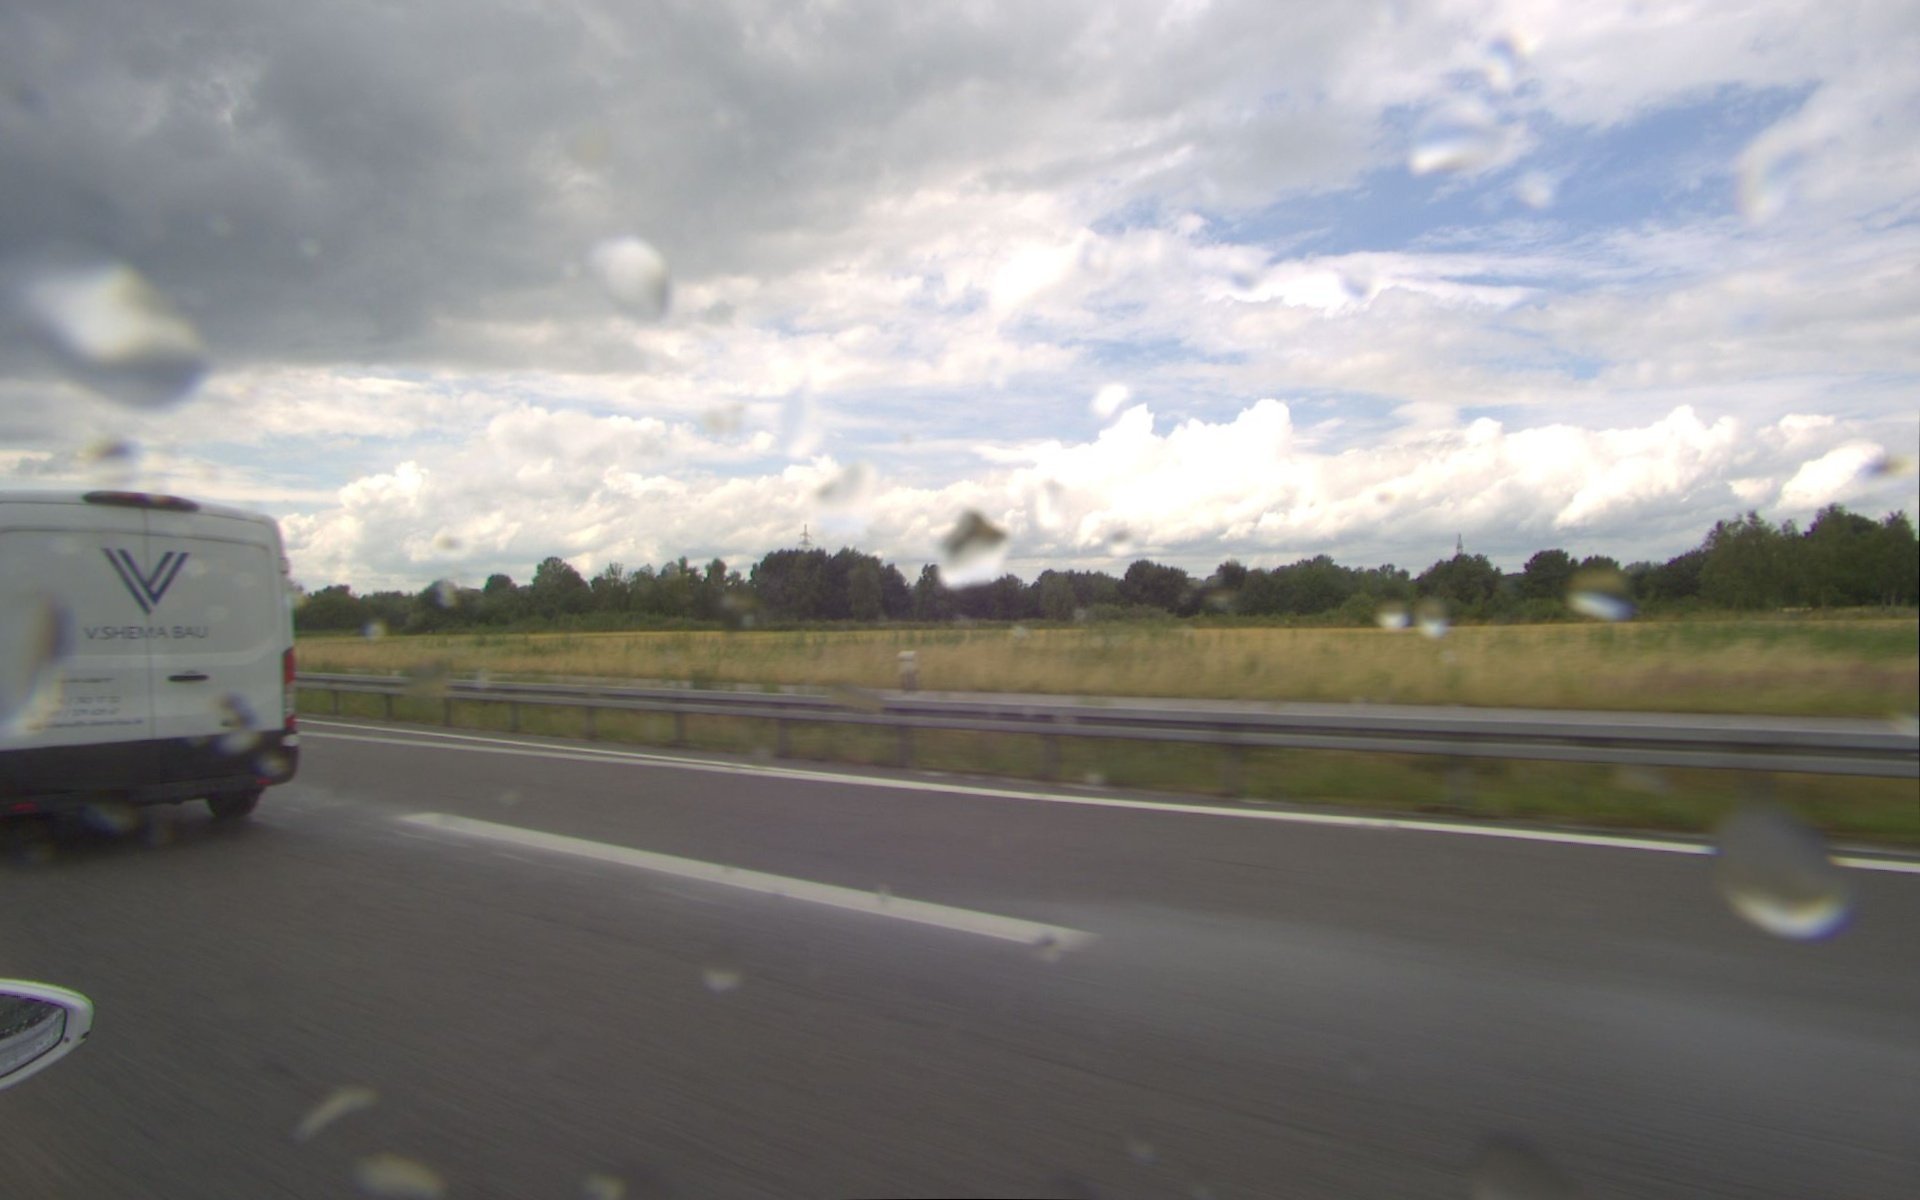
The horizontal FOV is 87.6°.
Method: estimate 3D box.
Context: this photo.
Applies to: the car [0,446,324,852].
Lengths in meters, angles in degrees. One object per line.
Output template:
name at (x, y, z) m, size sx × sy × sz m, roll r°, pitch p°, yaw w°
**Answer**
car at (-7.757, 0.384, 8.447) m, size 5.374 × 2.532 × 2.134 m, roll -1°, pitch -2°, yaw 35°
